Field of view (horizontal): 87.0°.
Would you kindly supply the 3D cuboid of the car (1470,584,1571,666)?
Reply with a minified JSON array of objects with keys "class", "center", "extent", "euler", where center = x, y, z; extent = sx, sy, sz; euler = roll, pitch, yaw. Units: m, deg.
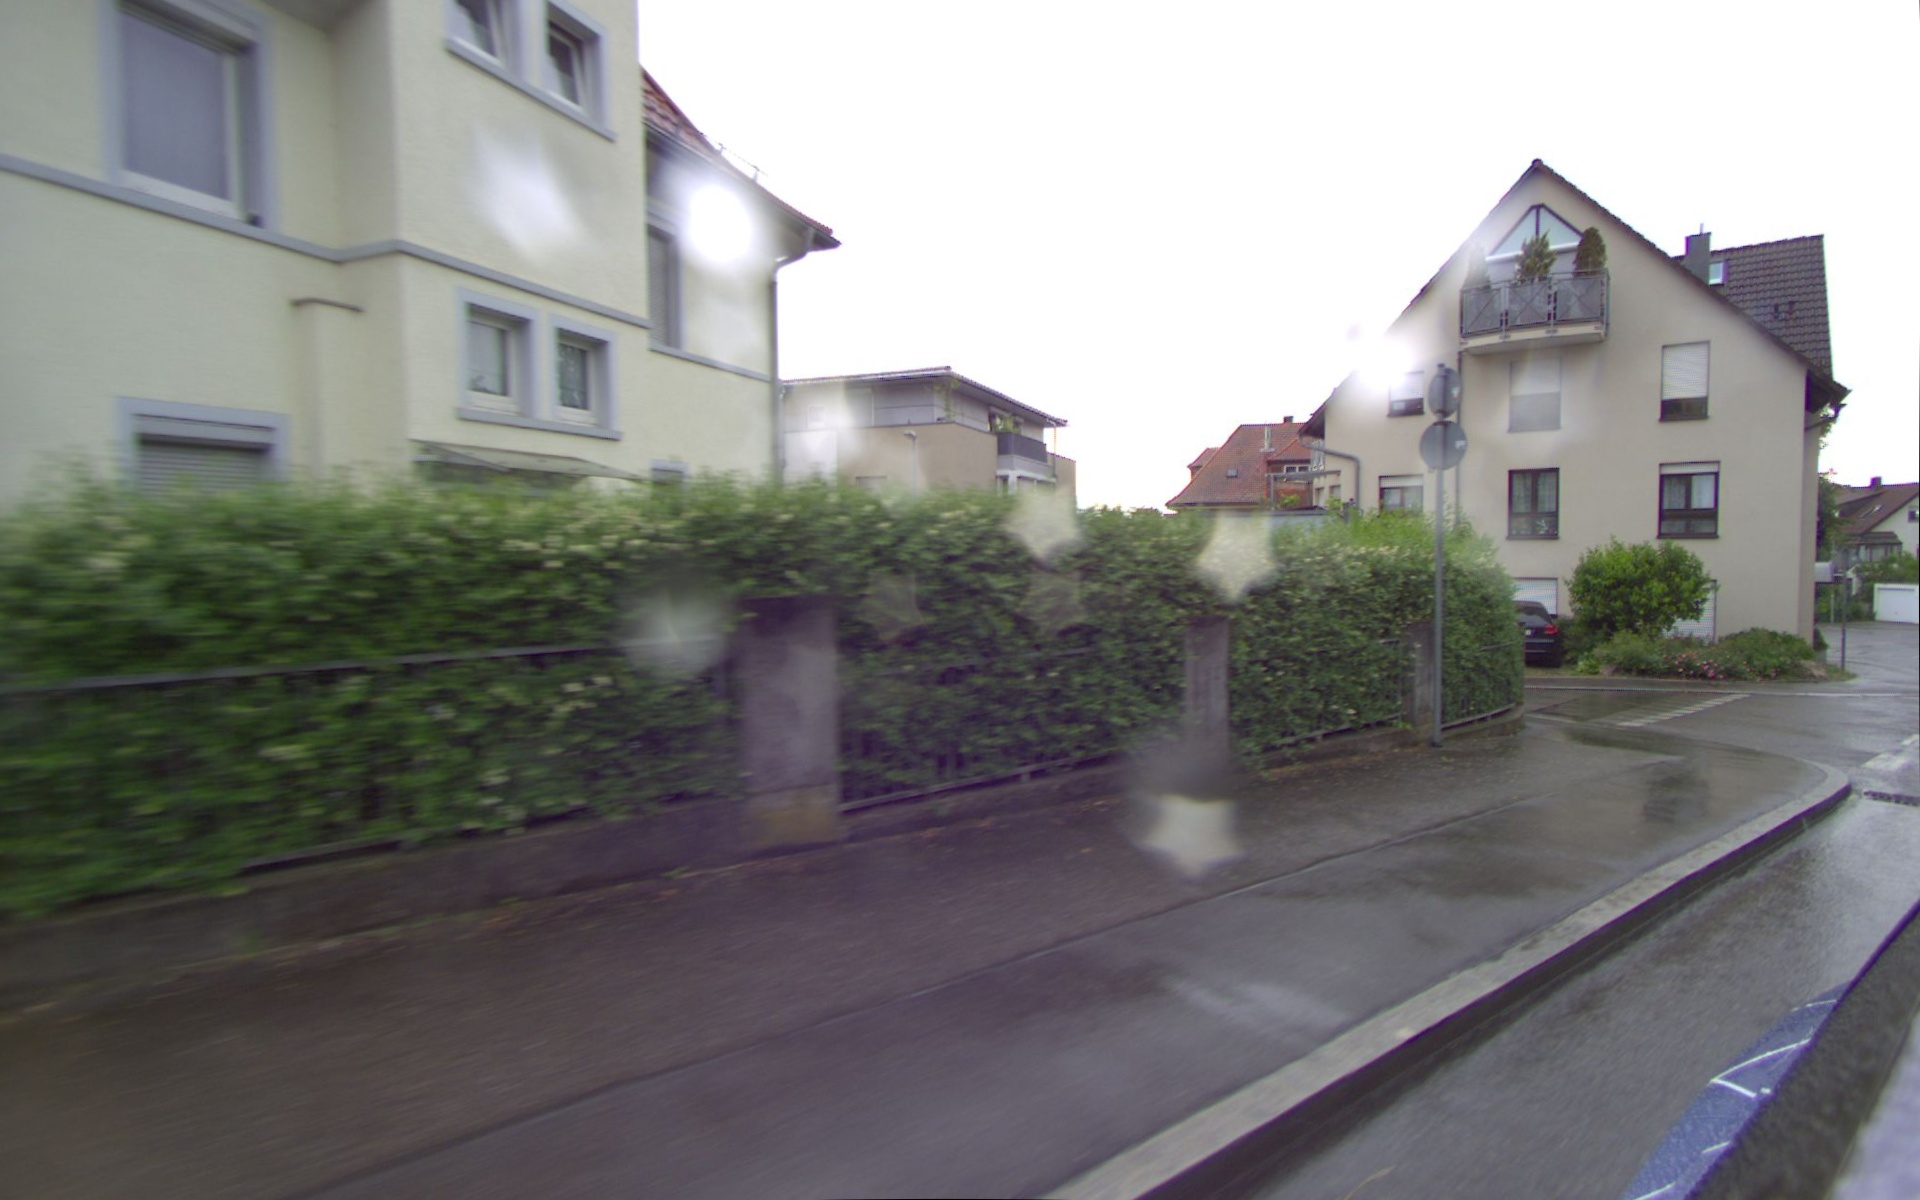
[{"class":"car","center":[12.869,0.508,23.415],"extent":[1.706,1.424,3.742],"euler":[-1,5,24]}]
